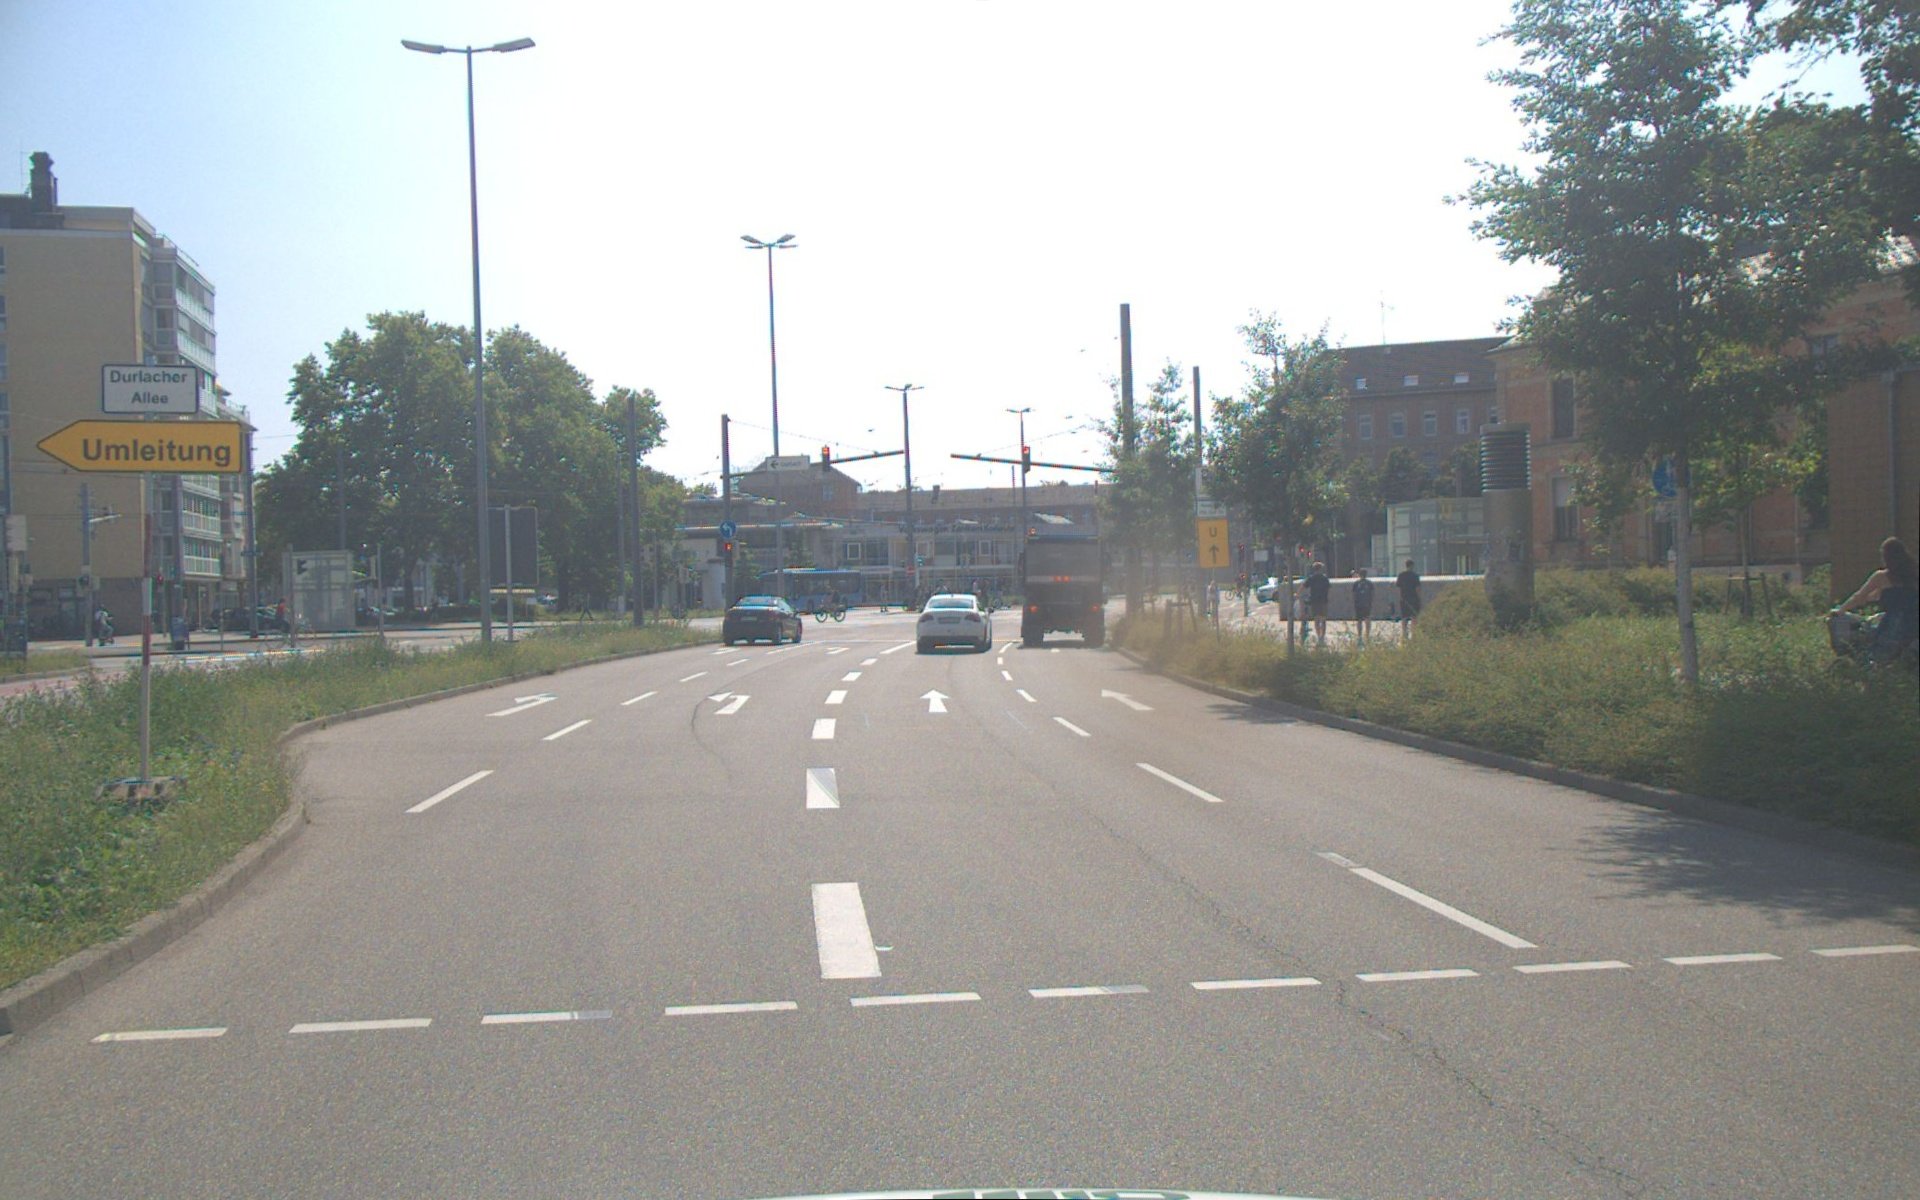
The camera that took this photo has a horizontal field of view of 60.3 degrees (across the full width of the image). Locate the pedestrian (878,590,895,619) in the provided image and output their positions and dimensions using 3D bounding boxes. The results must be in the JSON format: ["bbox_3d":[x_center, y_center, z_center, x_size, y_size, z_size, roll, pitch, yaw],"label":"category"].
[{"bbox_3d":[-4.700,0.296,105.661,0.767,1.782,0.809,-1,0,18],"label":"pedestrian"}]

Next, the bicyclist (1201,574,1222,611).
[{"bbox_3d":[9.210,-0.284,60.576,0.660,1.343,0.684,-2,0,4],"label":"bicyclist"}]

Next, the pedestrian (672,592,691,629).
[{"bbox_3d":[-10.023,0.387,59.524,0.586,1.290,0.503,-2,3,-16],"label":"pedestrian"}]

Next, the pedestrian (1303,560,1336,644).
[{"bbox_3d":[8.201,0.043,37.710,0.646,1.892,0.794,-1,0,15],"label":"pedestrian"}]

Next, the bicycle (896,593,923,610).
[{"bbox_3d":[-3.140,0.097,102.320,1.557,1.002,0.507,-1,0,19],"label":"bicycle"}]

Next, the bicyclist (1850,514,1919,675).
[{"bbox_3d":[9.254,-0.073,16.185,0.540,1.522,0.800,-3,2,-17],"label":"bicyclist"}]

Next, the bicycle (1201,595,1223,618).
[{"bbox_3d":[9.230,0.227,60.644,0.660,0.790,2.129,-2,0,5],"label":"bicycle"}]

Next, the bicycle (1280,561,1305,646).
[{"bbox_3d":[7.585,0.065,37.667,0.445,1.892,1.364,-2,0,14],"label":"bicycle"}]

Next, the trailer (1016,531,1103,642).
[{"bbox_3d":[2.989,-0.410,49.130,2.411,3.060,6.329,0,1,4],"label":"trailer"}]

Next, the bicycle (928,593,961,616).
[{"bbox_3d":[-0.783,0.232,85.335,0.684,1.156,2.037,1,2,34],"label":"bicycle"}]

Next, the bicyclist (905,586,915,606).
[{"bbox_3d":[-3.098,-0.246,102.305,0.493,1.209,0.507,-1,0,19],"label":"bicyclist"}]

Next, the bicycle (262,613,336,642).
[{"bbox_3d":[-23.590,0.982,59.071,2.369,0.970,0.601,-1,0,-15],"label":"bicycle"}]

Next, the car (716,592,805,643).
[{"bbox_3d":[-5.902,0.501,49.362,1.720,1.429,3.984,-1,1,7],"label":"car"}]

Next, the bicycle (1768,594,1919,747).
[{"bbox_3d":[7.811,0.555,13.794,0.681,1.175,2.367,-3,1,-8],"label":"bicycle"}]

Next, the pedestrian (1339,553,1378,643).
[{"bbox_3d":[9.040,-0.052,37.470,0.761,2.007,0.754,-2,0,17],"label":"pedestrian"}]

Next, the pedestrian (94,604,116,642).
[{"bbox_3d":[-37.967,1.029,73.428,0.637,1.661,0.811,-2,0,-14],"label":"pedestrian"}]

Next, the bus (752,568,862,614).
[{"bbox_3d":[-10.461,-0.698,114.824,2.990,2.982,11.857,-1,1,19],"label":"bus"}]

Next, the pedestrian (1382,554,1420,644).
[{"bbox_3d":[10.028,-0.031,37.613,0.761,2.007,0.754,-2,0,17],"label":"pedestrian"}]

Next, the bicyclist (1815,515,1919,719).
[{"bbox_3d":[7.776,0.122,13.824,0.677,1.626,0.842,-4,0,-8],"label":"bicyclist"}]

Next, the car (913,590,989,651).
[{"bbox_3d":[-0.189,0.509,43.736,1.721,1.480,4.428,-1,1,3],"label":"car"}]

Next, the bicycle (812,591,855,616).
[{"bbox_3d":[-6.146,0.168,80.156,0.962,1.199,2.803,-2,0,-30],"label":"bicycle"}]

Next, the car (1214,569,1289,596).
[{"bbox_3d":[17.147,-1.014,97.347,3.998,1.450,1.764,-2,0,-23],"label":"car"}]

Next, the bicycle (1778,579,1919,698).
[{"bbox_3d":[9.174,0.355,16.541,0.547,1.078,1.995,-4,2,-16],"label":"bicycle"}]

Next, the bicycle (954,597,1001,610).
[{"bbox_3d":[1.114,0.223,105.484,2.887,0.740,0.861,-2,0,-16],"label":"bicycle"}]

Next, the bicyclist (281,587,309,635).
[{"bbox_3d":[-23.728,0.401,59.038,0.825,1.671,0.604,-2,0,-15],"label":"bicyclist"}]

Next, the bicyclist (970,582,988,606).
[{"bbox_3d":[1.210,-0.381,105.509,0.889,1.527,0.861,-2,0,-16],"label":"bicyclist"}]

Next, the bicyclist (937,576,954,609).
[{"bbox_3d":[-0.759,-0.412,85.366,0.678,1.678,0.618,1,1,34],"label":"bicyclist"}]

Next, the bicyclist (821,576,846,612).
[{"bbox_3d":[-6.136,-0.283,80.114,0.962,1.683,0.656,-2,0,-31],"label":"bicyclist"}]
